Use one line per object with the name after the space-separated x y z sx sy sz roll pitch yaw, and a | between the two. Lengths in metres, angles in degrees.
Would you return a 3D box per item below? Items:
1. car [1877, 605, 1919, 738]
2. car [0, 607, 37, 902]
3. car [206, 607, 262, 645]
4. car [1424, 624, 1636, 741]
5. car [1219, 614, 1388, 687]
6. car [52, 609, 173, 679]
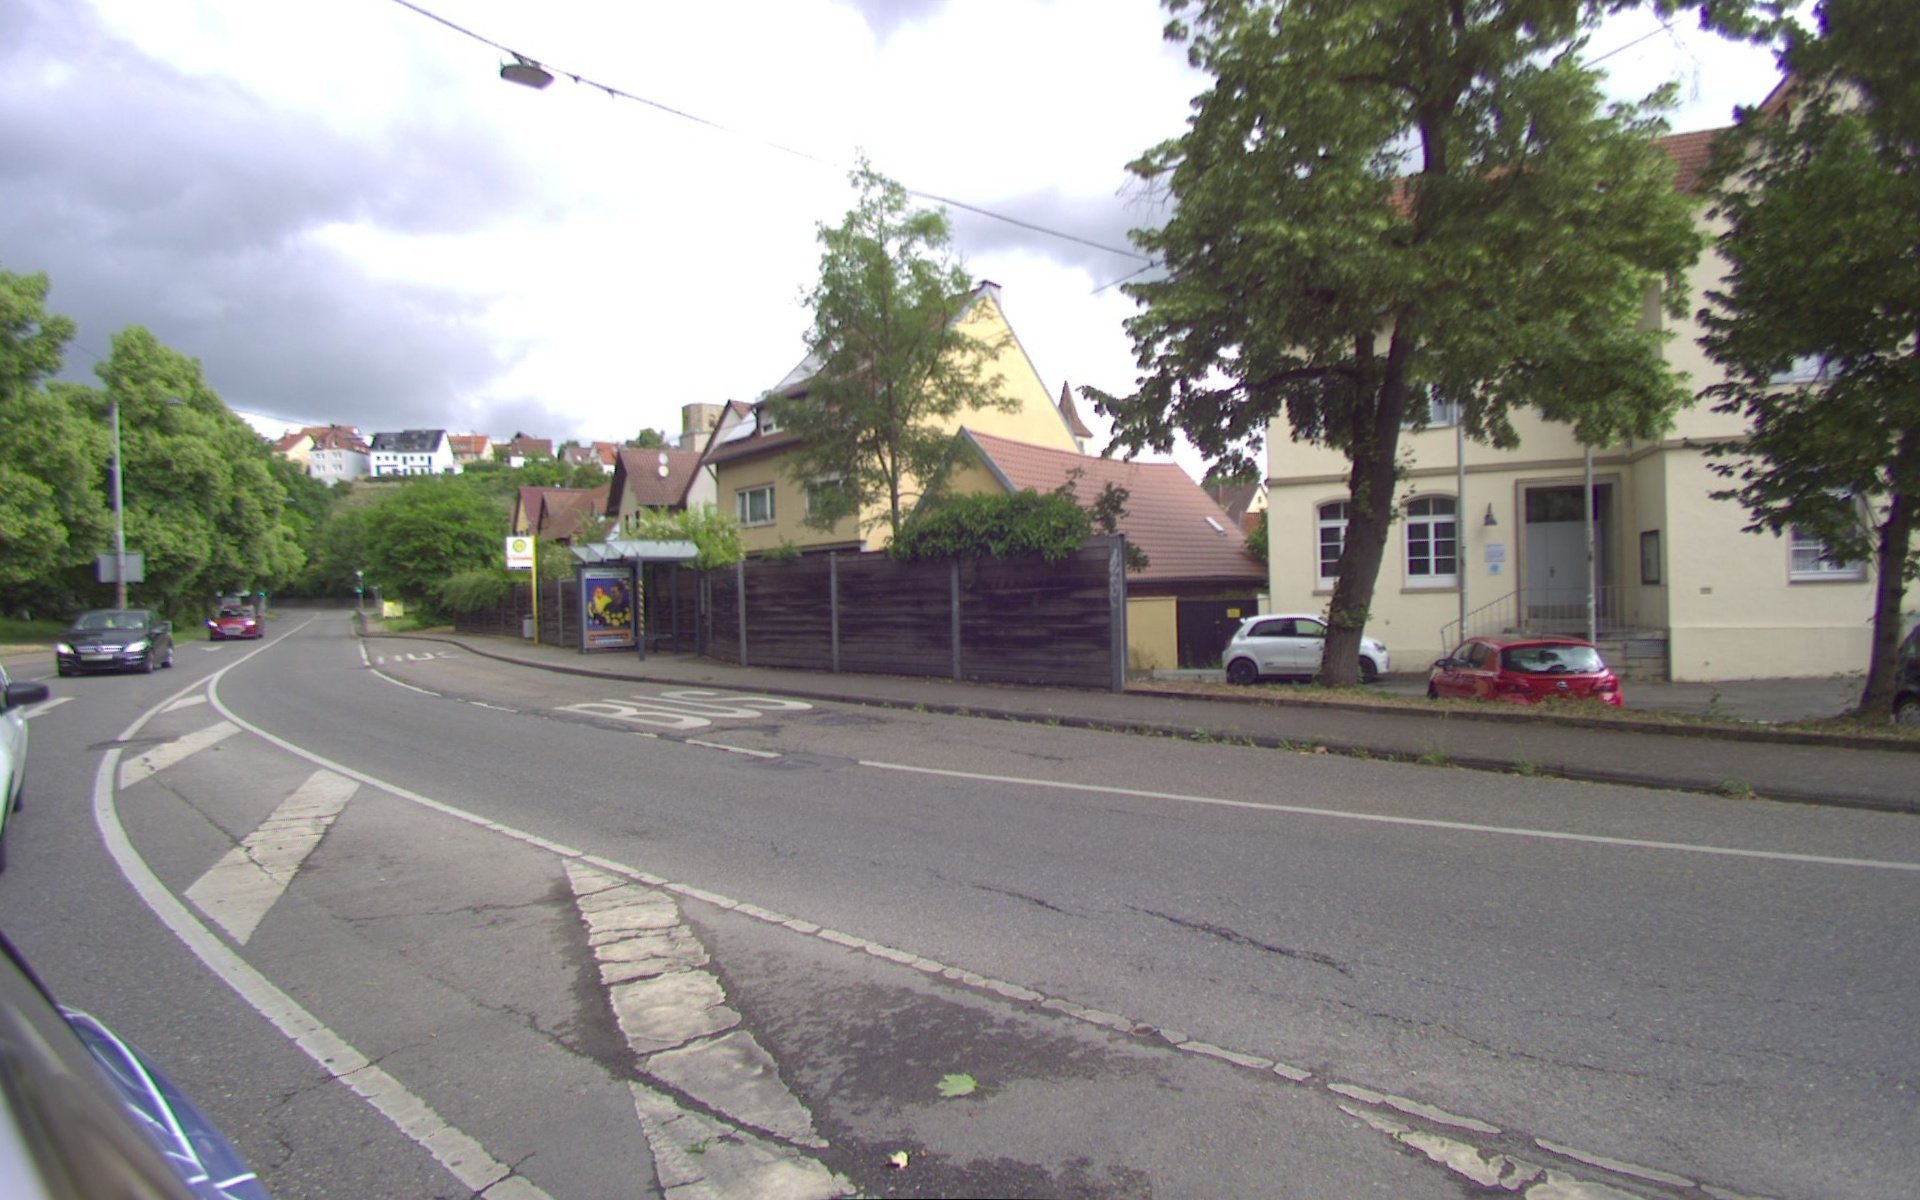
12.697 0.890 11.590 1.586 1.644 3.093 -1 0 2 | car
-6.719 0.828 6.092 1.594 1.525 3.610 -1 0 -41 | car
-34.880 1.221 48.718 1.798 1.685 4.070 -1 0 -30 | car
8.123 1.106 14.772 1.590 1.389 3.544 -1 0 10 | car
7.744 1.109 22.928 3.487 1.528 1.581 -1 0 20 | car
-20.850 1.018 25.050 1.696 1.559 3.793 -1 0 -31 | car
